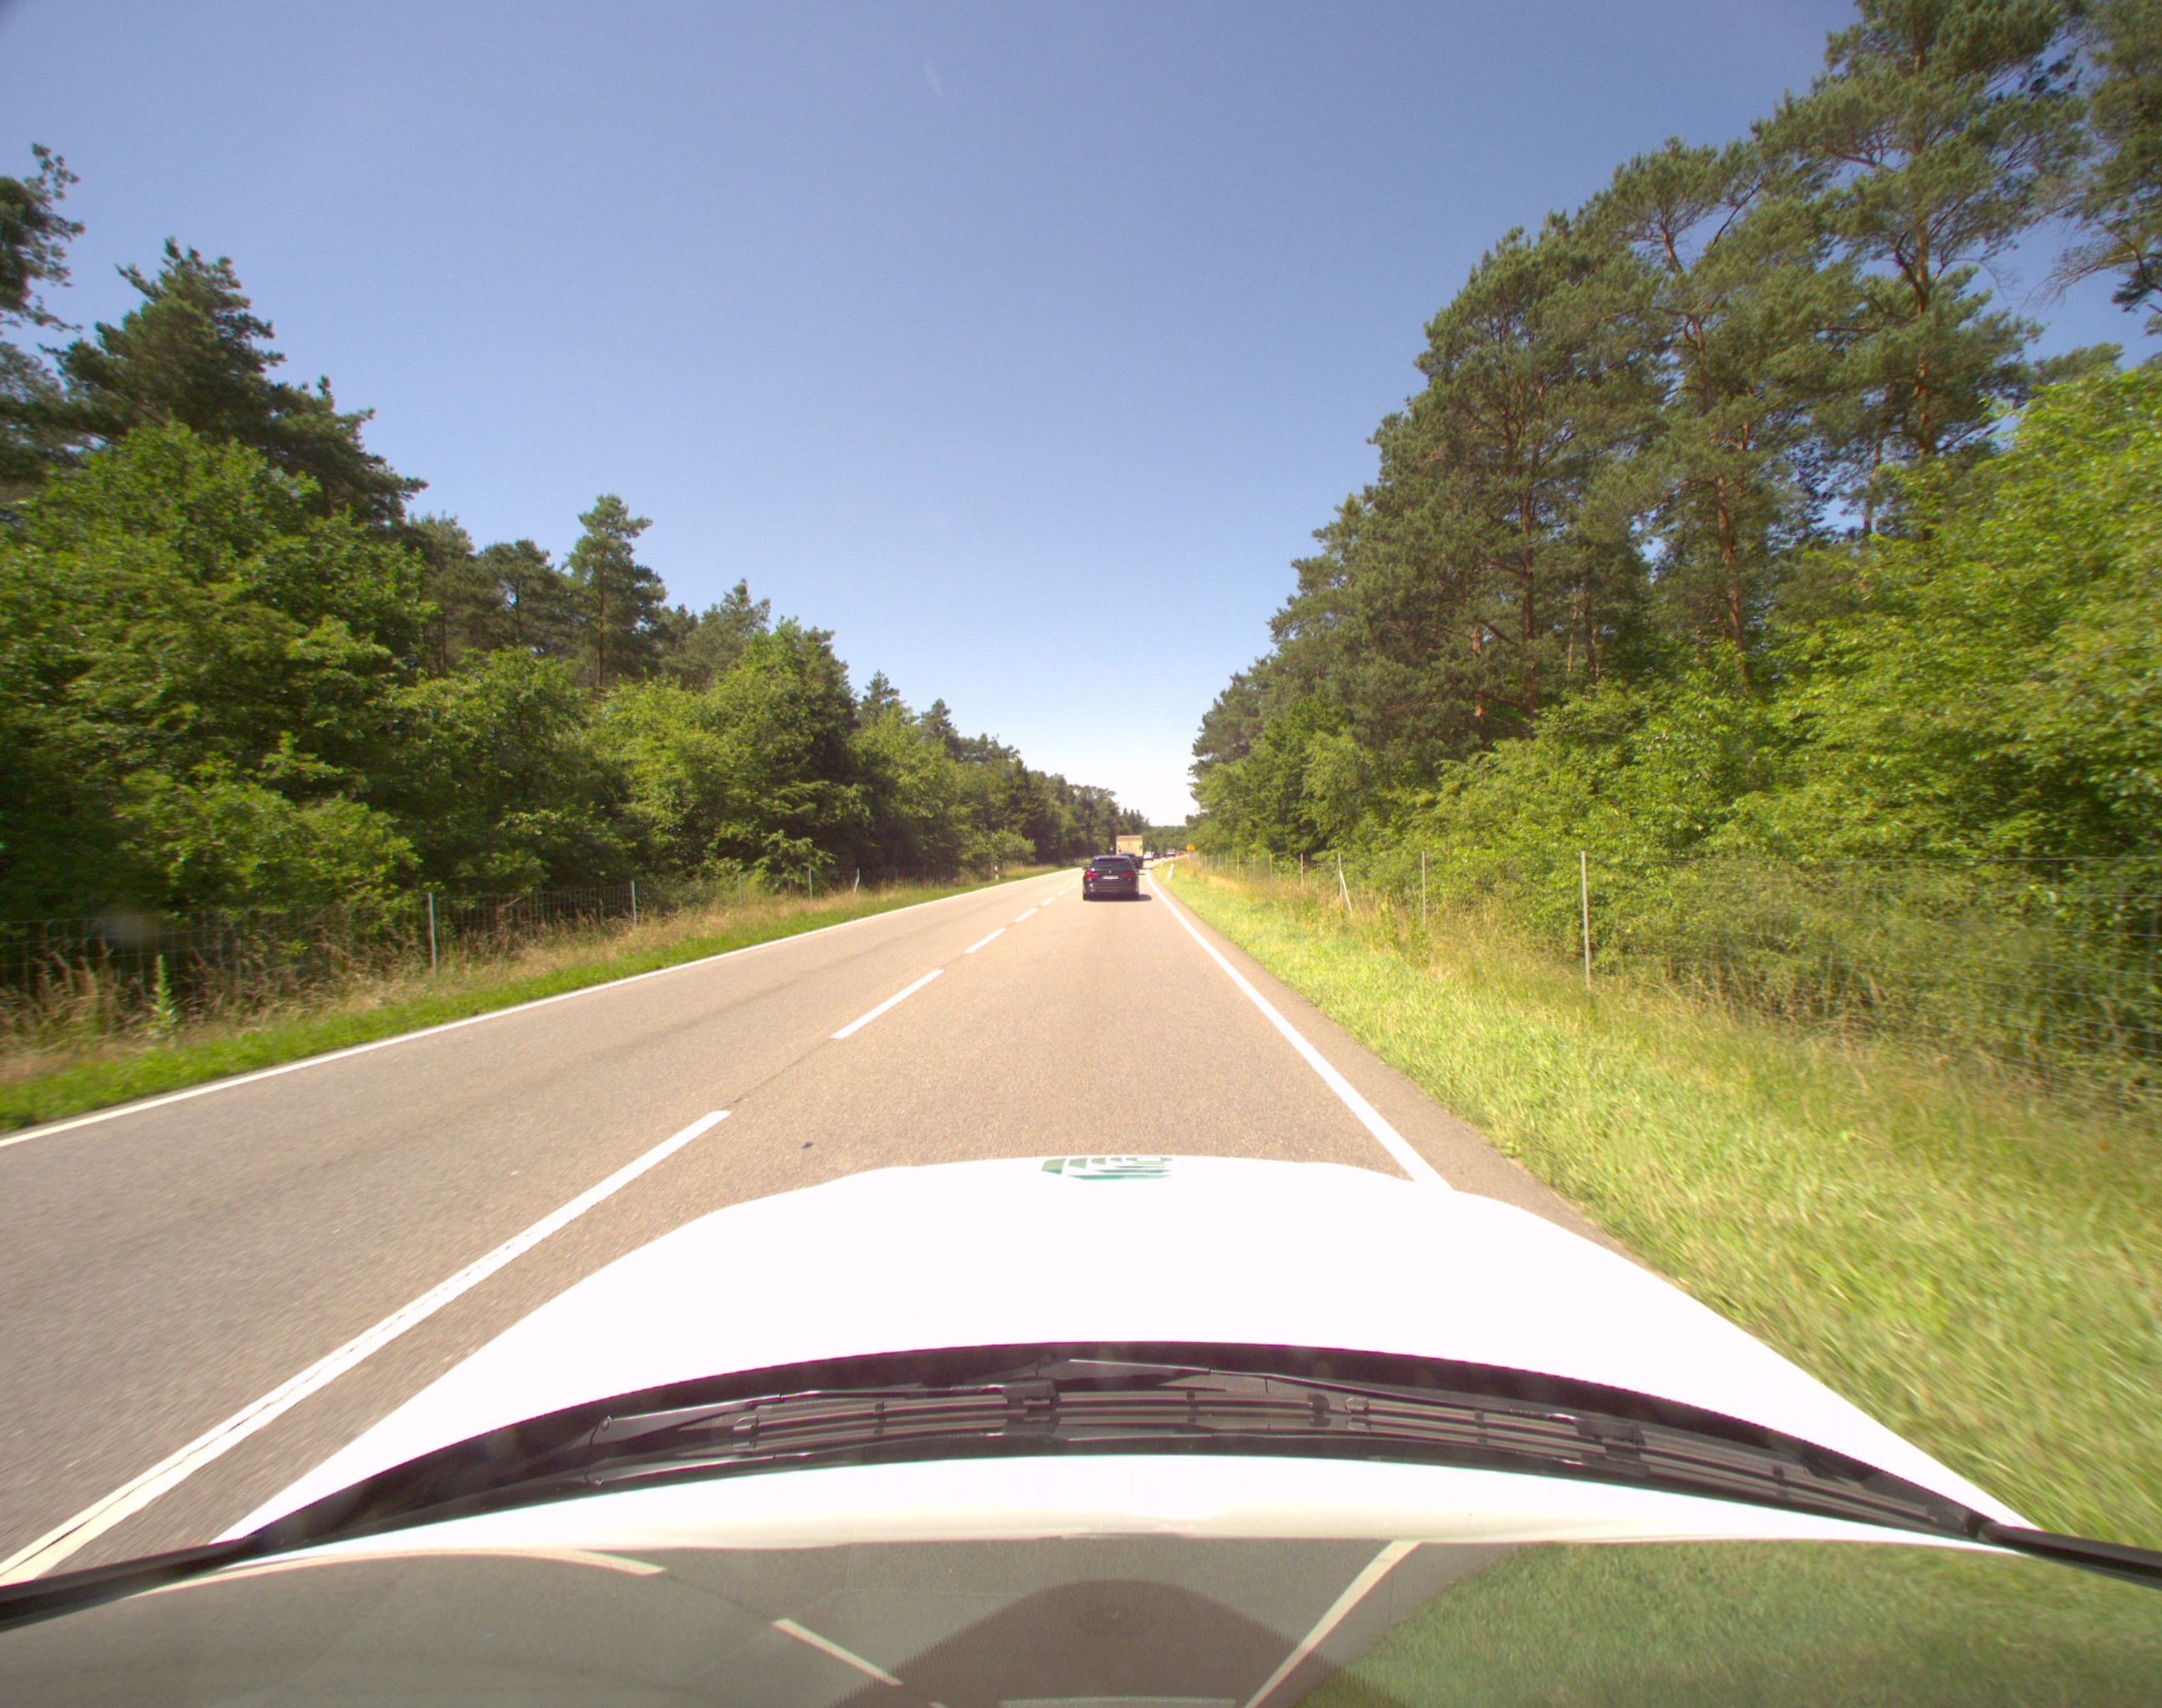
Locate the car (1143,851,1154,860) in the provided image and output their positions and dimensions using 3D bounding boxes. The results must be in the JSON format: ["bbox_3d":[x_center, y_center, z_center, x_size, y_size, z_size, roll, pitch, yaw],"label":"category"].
[{"bbox_3d":[12.265,0.320,148.427,1.854,1.605,4.005,-2,0,4],"label":"car"}]

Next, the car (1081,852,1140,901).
[{"bbox_3d":[0.932,0.712,27.828,1.815,1.470,3.999,-2,0,0],"label":"car"}]

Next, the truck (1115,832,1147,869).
[{"bbox_3d":[4.927,-0.343,80.590,2.953,3.387,6.444,-2,0,3],"label":"truck"}]

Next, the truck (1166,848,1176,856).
[{"bbox_3d":[25.776,-0.590,233.366,2.550,2.202,4.983,-2,0,7],"label":"truck"}]

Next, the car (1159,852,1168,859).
[{"bbox_3d":[21.091,0.270,207.862,1.983,1.636,4.008,-3,0,7],"label":"car"}]

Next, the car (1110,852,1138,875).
[{"bbox_3d":[3.148,0.648,59.736,1.939,1.541,4.003,-3,0,3],"label":"car"}]

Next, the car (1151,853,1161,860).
[{"bbox_3d":[16.652,0.495,181.130,1.986,1.420,4.001,-1,0,1],"label":"car"}]
